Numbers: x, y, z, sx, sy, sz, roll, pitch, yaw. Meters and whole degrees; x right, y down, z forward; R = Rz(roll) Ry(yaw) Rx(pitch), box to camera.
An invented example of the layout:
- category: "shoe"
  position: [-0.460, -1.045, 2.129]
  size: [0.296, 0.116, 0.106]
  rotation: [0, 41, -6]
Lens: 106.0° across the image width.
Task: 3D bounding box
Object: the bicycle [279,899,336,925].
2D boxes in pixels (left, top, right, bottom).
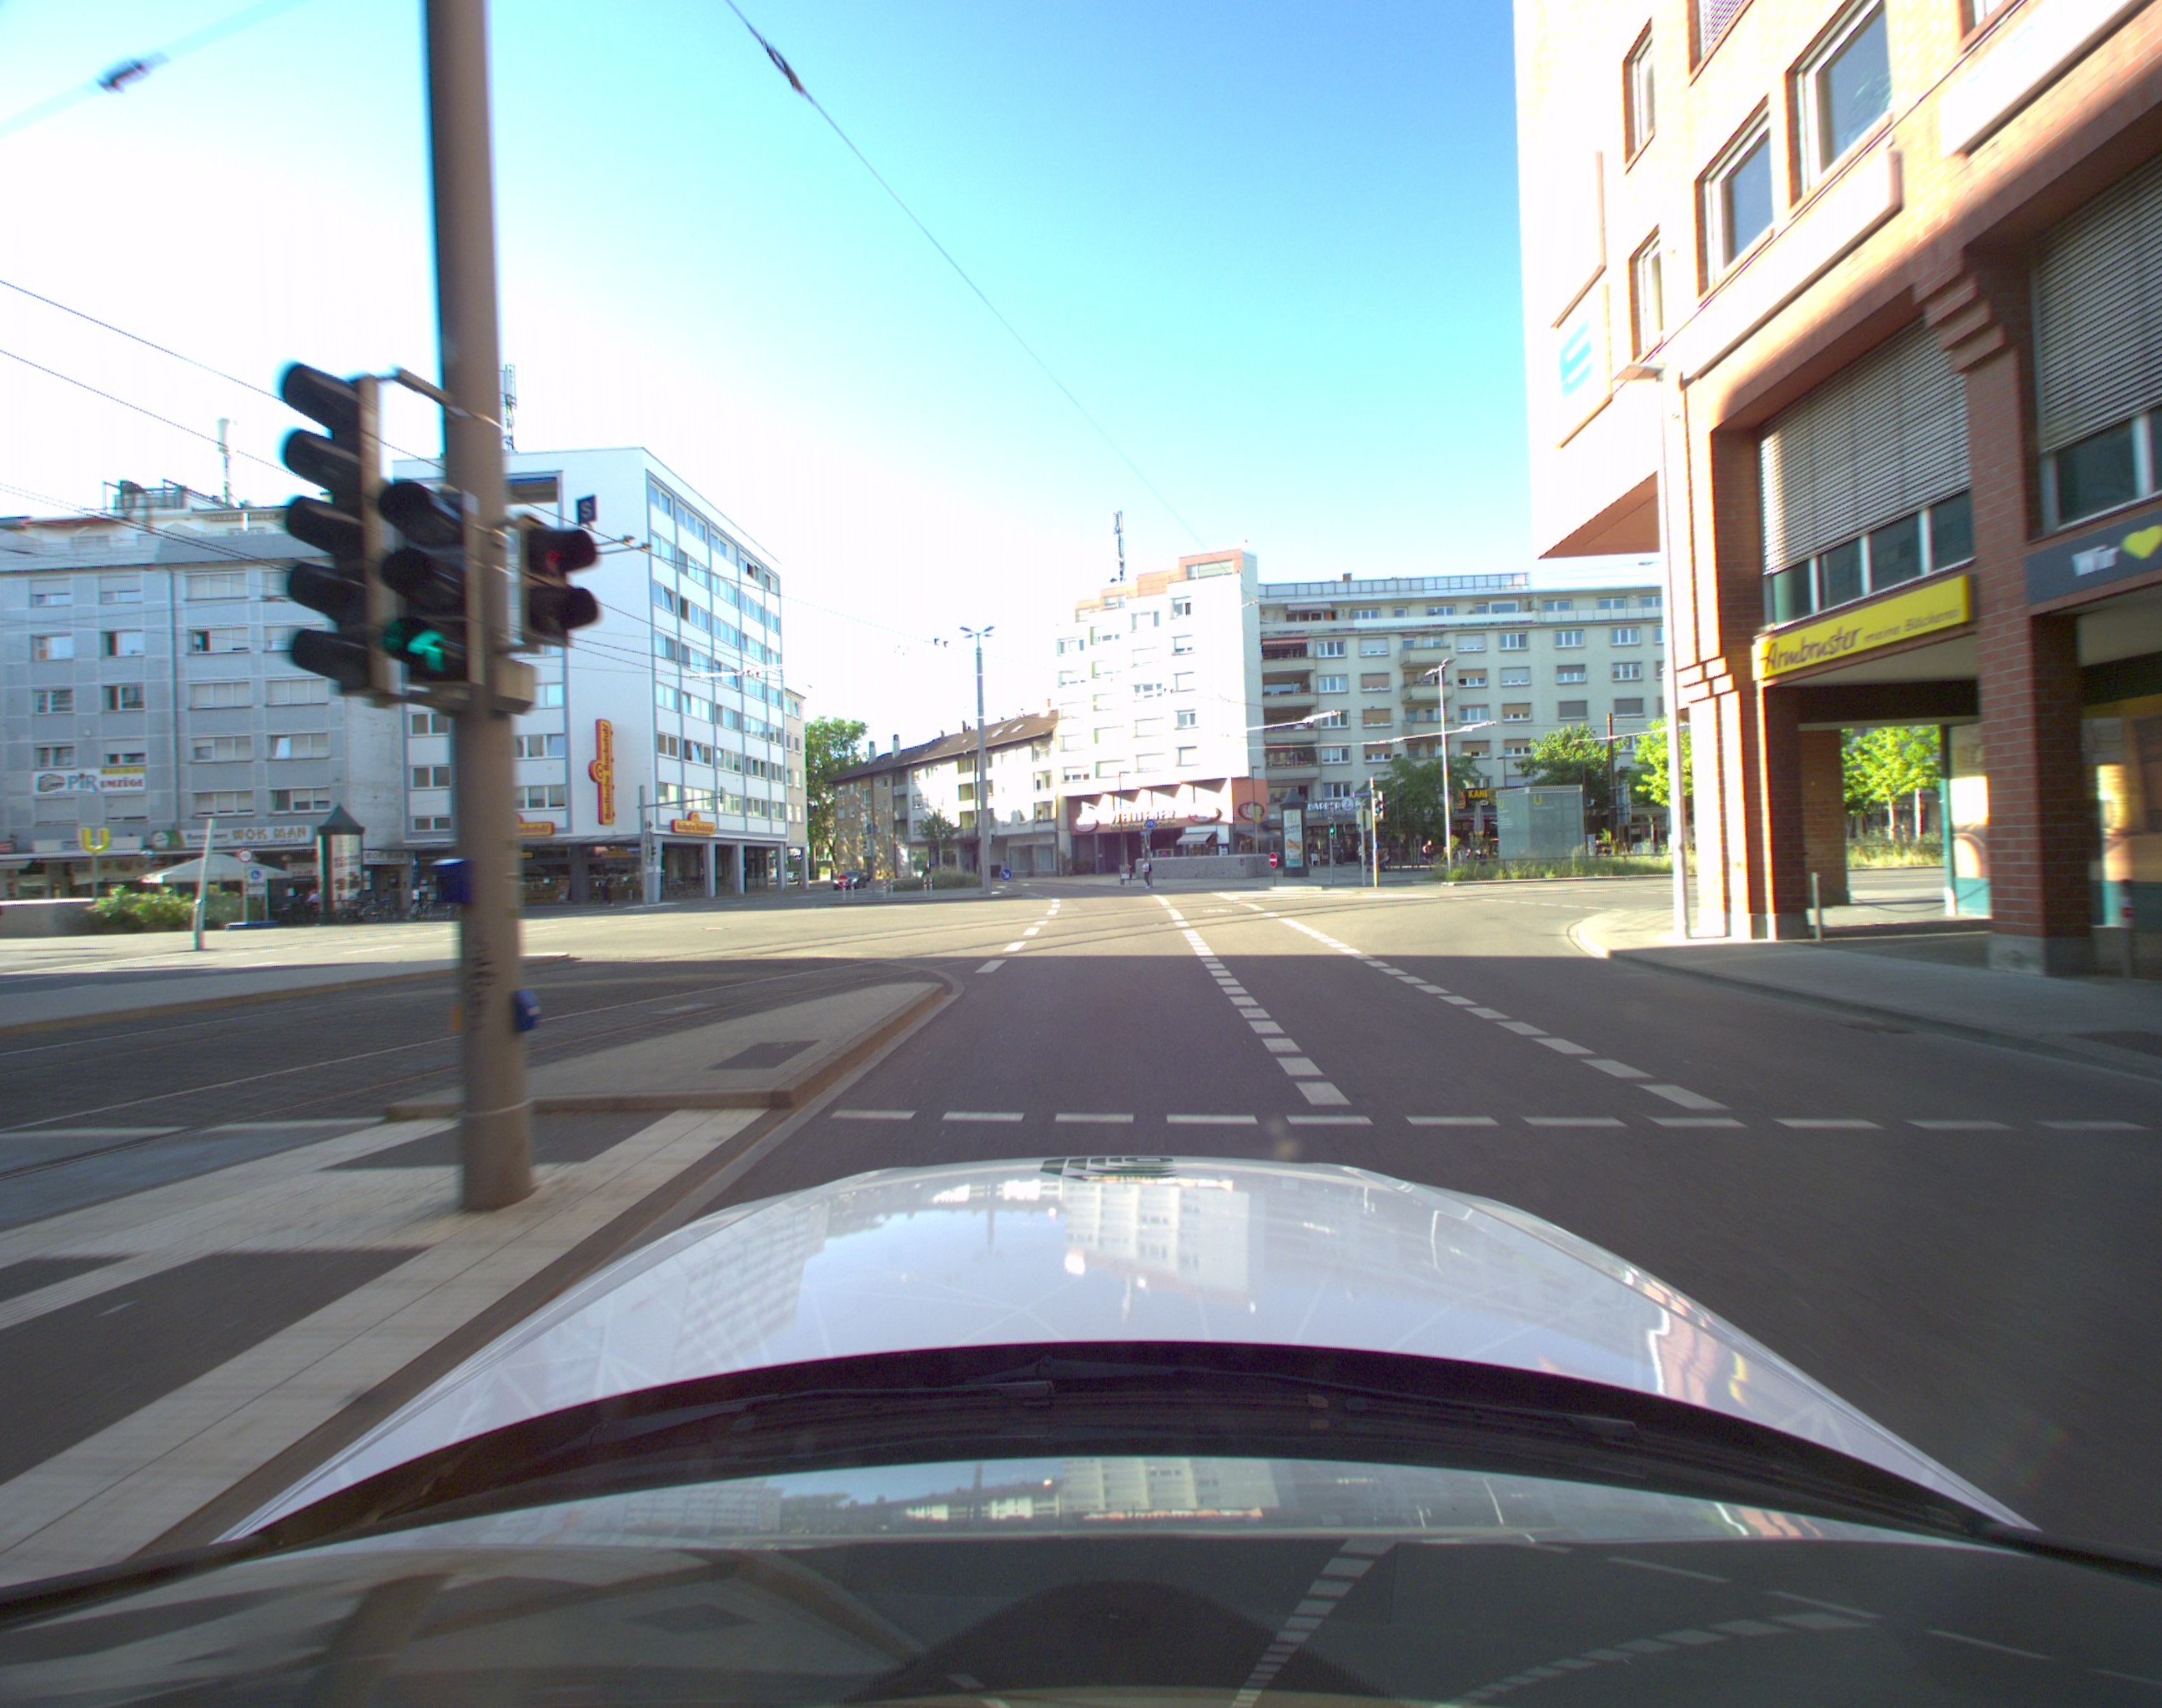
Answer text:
- category: "bicycle"
  position: [-35.392, 2.624, 37.288]
  size: [0.591, 1.053, 1.852]
  rotation: [-2, 0, 11]

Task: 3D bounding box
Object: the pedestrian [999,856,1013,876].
- category: "pedestrian"
  position: [-7.019, 1.112, 75.823]
  size: [0.738, 1.854, 0.936]
  rotation: [-5, 1, -42]

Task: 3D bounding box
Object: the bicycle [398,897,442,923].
- category: "bicycle"
  position: [-29.825, 2.506, 36.791]
  size: [0.594, 1.053, 1.999]
  rotation: [-2, 0, -10]

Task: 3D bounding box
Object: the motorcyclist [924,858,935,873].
- category: "motorcyclist"
  position: [-13.825, 1.050, 74.360]
  size: [0.970, 1.347, 1.133]
  rotation: [-1, -1, -11]

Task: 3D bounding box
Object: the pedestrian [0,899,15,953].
- category: "pedestrian"
  position: [-34.317, 2.283, 25.624]
  size: [0.896, 1.665, 0.890]
  rotation: [-3, -1, 38]

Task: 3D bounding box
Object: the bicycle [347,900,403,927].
- category: "bicycle"
  position: [-31.860, 2.687, 36.802]
  size: [0.591, 1.053, 2.010]
  rotation: [-2, 0, 7]

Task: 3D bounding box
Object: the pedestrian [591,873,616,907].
- category: "pedestrian"
  position: [-24.834, 1.845, 42.359]
  size: [0.801, 1.724, 0.777]
  rotation: [-2, -1, 3]

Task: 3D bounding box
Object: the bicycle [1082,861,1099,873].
- category: "bicycle"
  position: [0.852, 1.133, 72.900]
  size: [0.499, 1.038, 1.619]
  rotation: [-2, -1, -42]

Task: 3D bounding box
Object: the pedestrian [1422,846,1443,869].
- category: "pedestrian"
  position: [21.160, 0.193, 49.043]
  size: [0.717, 1.365, 1.106]
  rotation: [-2, 0, -5]

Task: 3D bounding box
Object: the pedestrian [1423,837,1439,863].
- category: "pedestrian"
  position: [23.467, -0.254, 54.580]
  size: [0.680, 1.746, 0.716]
  rotation: [-2, -1, -7]

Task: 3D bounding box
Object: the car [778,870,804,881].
- category: "car"
  position: [-40.866, 3.019, 114.833]
  size: [2.051, 1.504, 4.044]
  rotation: [-2, 0, -42]

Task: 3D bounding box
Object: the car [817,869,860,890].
- category: "car"
  position: [-18.153, 1.888, 61.185]
  size: [1.827, 1.386, 4.595]
  rotation: [-2, -1, 0]

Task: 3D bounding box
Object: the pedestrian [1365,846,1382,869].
- category: "pedestrian"
  position: [18.589, 0.222, 51.745]
  size: [0.711, 1.446, 0.935]
  rotation: [-2, 0, 38]

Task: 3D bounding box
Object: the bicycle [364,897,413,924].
- category: "bicycle"
  position: [-30.848, 2.500, 36.305]
  size: [0.594, 1.053, 2.002]
  rotation: [-2, 0, -5]

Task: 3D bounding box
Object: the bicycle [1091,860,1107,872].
- category: "bicycle"
  position: [1.609, 1.108, 73.180]
  size: [0.499, 1.038, 1.619]
  rotation: [-2, -1, -42]

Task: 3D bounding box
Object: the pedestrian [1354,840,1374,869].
- category: "pedestrian"
  position: [18.904, 0.057, 54.365]
  size: [1.036, 1.866, 0.688]
  rotation: [-2, -1, 5]

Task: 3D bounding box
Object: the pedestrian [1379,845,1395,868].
- category: "pedestrian"
  position: [19.166, 0.161, 51.027]
  size: [0.711, 1.420, 0.935]
  rotation: [-2, 0, 35]

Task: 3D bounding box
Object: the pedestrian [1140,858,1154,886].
- category: "pedestrian"
  position: [3.798, 1.010, 46.658]
  size: [0.544, 1.583, 0.550]
  rotation: [-1, -1, -40]

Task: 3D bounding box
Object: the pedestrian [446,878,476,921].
- category: "pedestrian"
  position: [-26.889, 1.955, 35.340]
  size: [0.625, 1.791, 0.786]
  rotation: [-2, -1, 4]

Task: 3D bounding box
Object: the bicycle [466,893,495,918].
- category: "bicycle"
  position: [-27.474, 2.337, 37.289]
  size: [0.597, 1.053, 1.991]
  rotation: [-2, 0, -22]

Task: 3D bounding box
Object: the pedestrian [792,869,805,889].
- category: "pedestrian"
  position: [-24.546, 2.142, 70.762]
  size: [0.766, 1.724, 0.812]
  rotation: [-3, -1, 45]

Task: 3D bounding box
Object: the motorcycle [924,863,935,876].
- category: "motorcycle"
  position: [-13.838, 1.379, 74.462]
  size: [0.973, 1.132, 2.795]
  rotation: [-1, -1, -10]

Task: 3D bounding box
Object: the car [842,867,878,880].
- category: "car"
  position: [-24.110, 2.129, 88.779]
  size: [3.950, 1.388, 1.941]
  rotation: [-2, -1, 44]
